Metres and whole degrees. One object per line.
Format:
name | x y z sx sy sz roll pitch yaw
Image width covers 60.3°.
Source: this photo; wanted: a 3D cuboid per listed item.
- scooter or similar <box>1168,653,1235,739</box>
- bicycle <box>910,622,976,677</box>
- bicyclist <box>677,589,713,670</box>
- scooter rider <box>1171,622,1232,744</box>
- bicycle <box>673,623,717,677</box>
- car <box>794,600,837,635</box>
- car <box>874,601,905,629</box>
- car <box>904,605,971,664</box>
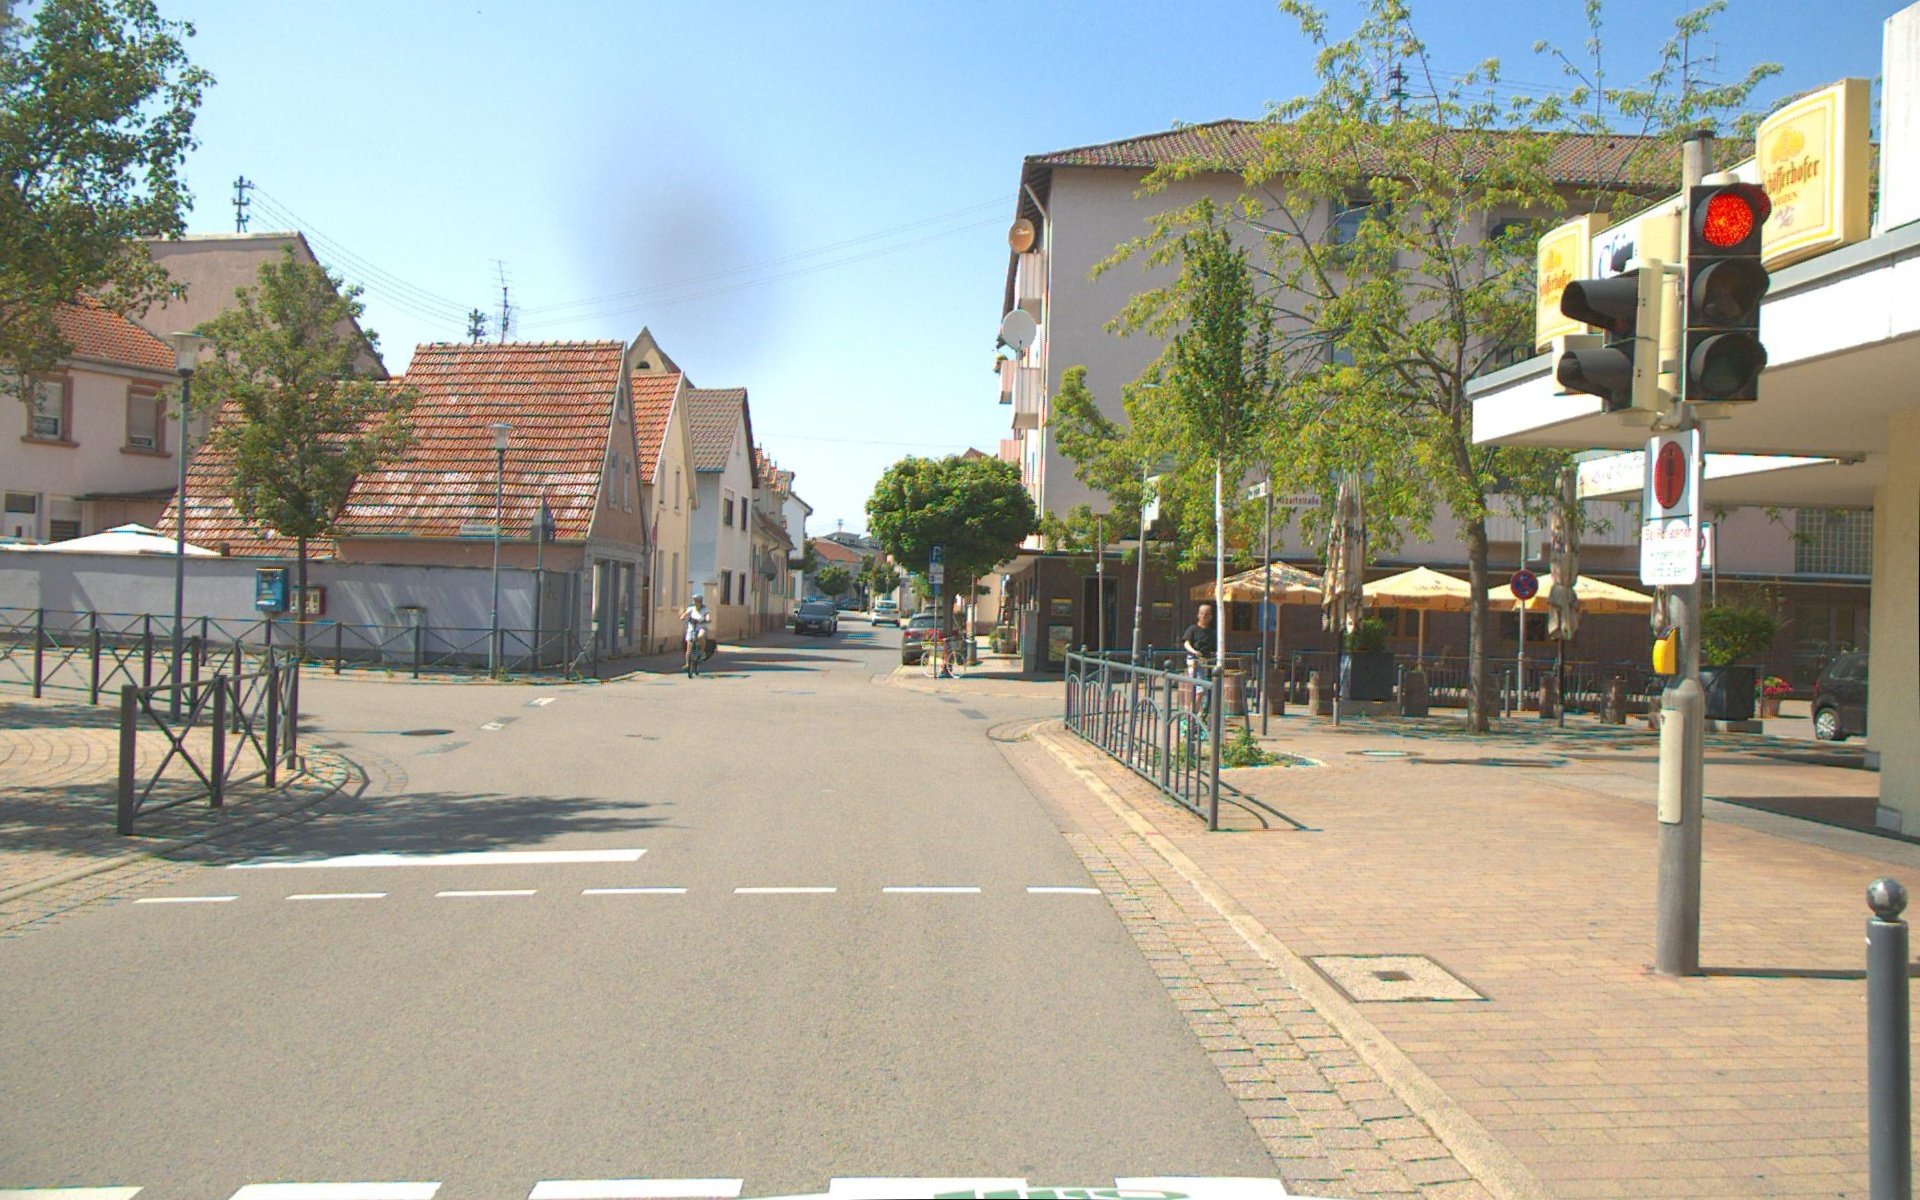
scooter or similar | 2.642 1.039 18.141 0.373 0.889 0.886 2 -1 -18
bicycle | -0.414 1.144 38.580 0.523 1.214 1.648 2 -1 -44
bicyclist | -5.696 0.635 35.600 0.655 1.720 0.761 1 -1 -1
scooter rider | 2.656 0.906 18.179 0.508 1.308 0.416 2 -1 -18
bicycle | -5.697 1.068 35.650 0.660 1.113 1.895 0 0 -1
car | -6.801 0.814 78.074 1.679 1.543 3.786 2 0 0
car | -4.462 0.969 104.585 1.796 1.681 3.999 2 0 -1
car | -0.604 0.954 47.359 1.768 1.528 4.000 2 0 0
